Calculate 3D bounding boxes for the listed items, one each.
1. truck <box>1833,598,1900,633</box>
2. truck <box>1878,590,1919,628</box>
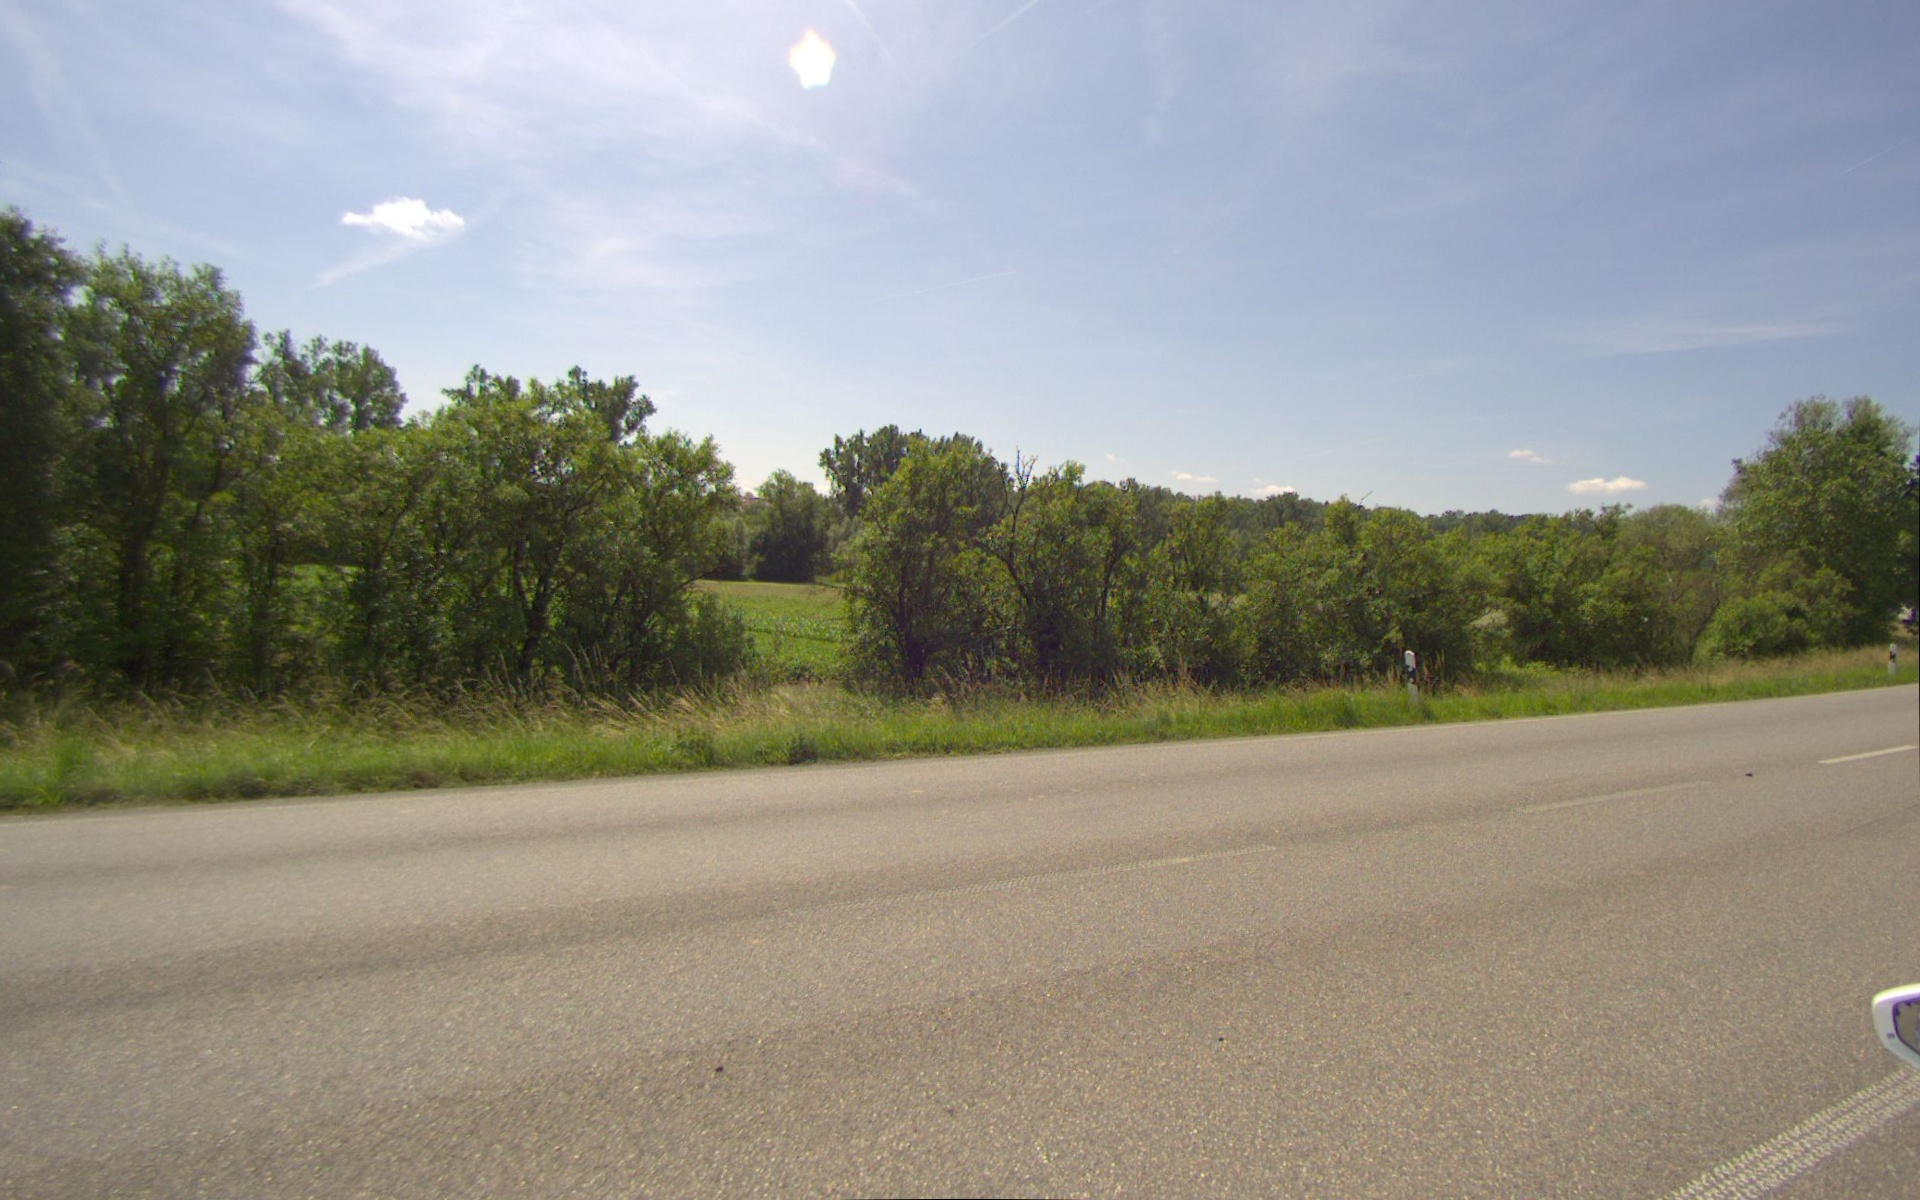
[{"bbox_3d":[122.473,2.142,136.012,3.476,4.296,13.385,4,1,29],"label":"truck"},{"bbox_3d":[115.242,1.179,121.522,3.585,4.184,13.068,4,1,32],"label":"truck"}]
